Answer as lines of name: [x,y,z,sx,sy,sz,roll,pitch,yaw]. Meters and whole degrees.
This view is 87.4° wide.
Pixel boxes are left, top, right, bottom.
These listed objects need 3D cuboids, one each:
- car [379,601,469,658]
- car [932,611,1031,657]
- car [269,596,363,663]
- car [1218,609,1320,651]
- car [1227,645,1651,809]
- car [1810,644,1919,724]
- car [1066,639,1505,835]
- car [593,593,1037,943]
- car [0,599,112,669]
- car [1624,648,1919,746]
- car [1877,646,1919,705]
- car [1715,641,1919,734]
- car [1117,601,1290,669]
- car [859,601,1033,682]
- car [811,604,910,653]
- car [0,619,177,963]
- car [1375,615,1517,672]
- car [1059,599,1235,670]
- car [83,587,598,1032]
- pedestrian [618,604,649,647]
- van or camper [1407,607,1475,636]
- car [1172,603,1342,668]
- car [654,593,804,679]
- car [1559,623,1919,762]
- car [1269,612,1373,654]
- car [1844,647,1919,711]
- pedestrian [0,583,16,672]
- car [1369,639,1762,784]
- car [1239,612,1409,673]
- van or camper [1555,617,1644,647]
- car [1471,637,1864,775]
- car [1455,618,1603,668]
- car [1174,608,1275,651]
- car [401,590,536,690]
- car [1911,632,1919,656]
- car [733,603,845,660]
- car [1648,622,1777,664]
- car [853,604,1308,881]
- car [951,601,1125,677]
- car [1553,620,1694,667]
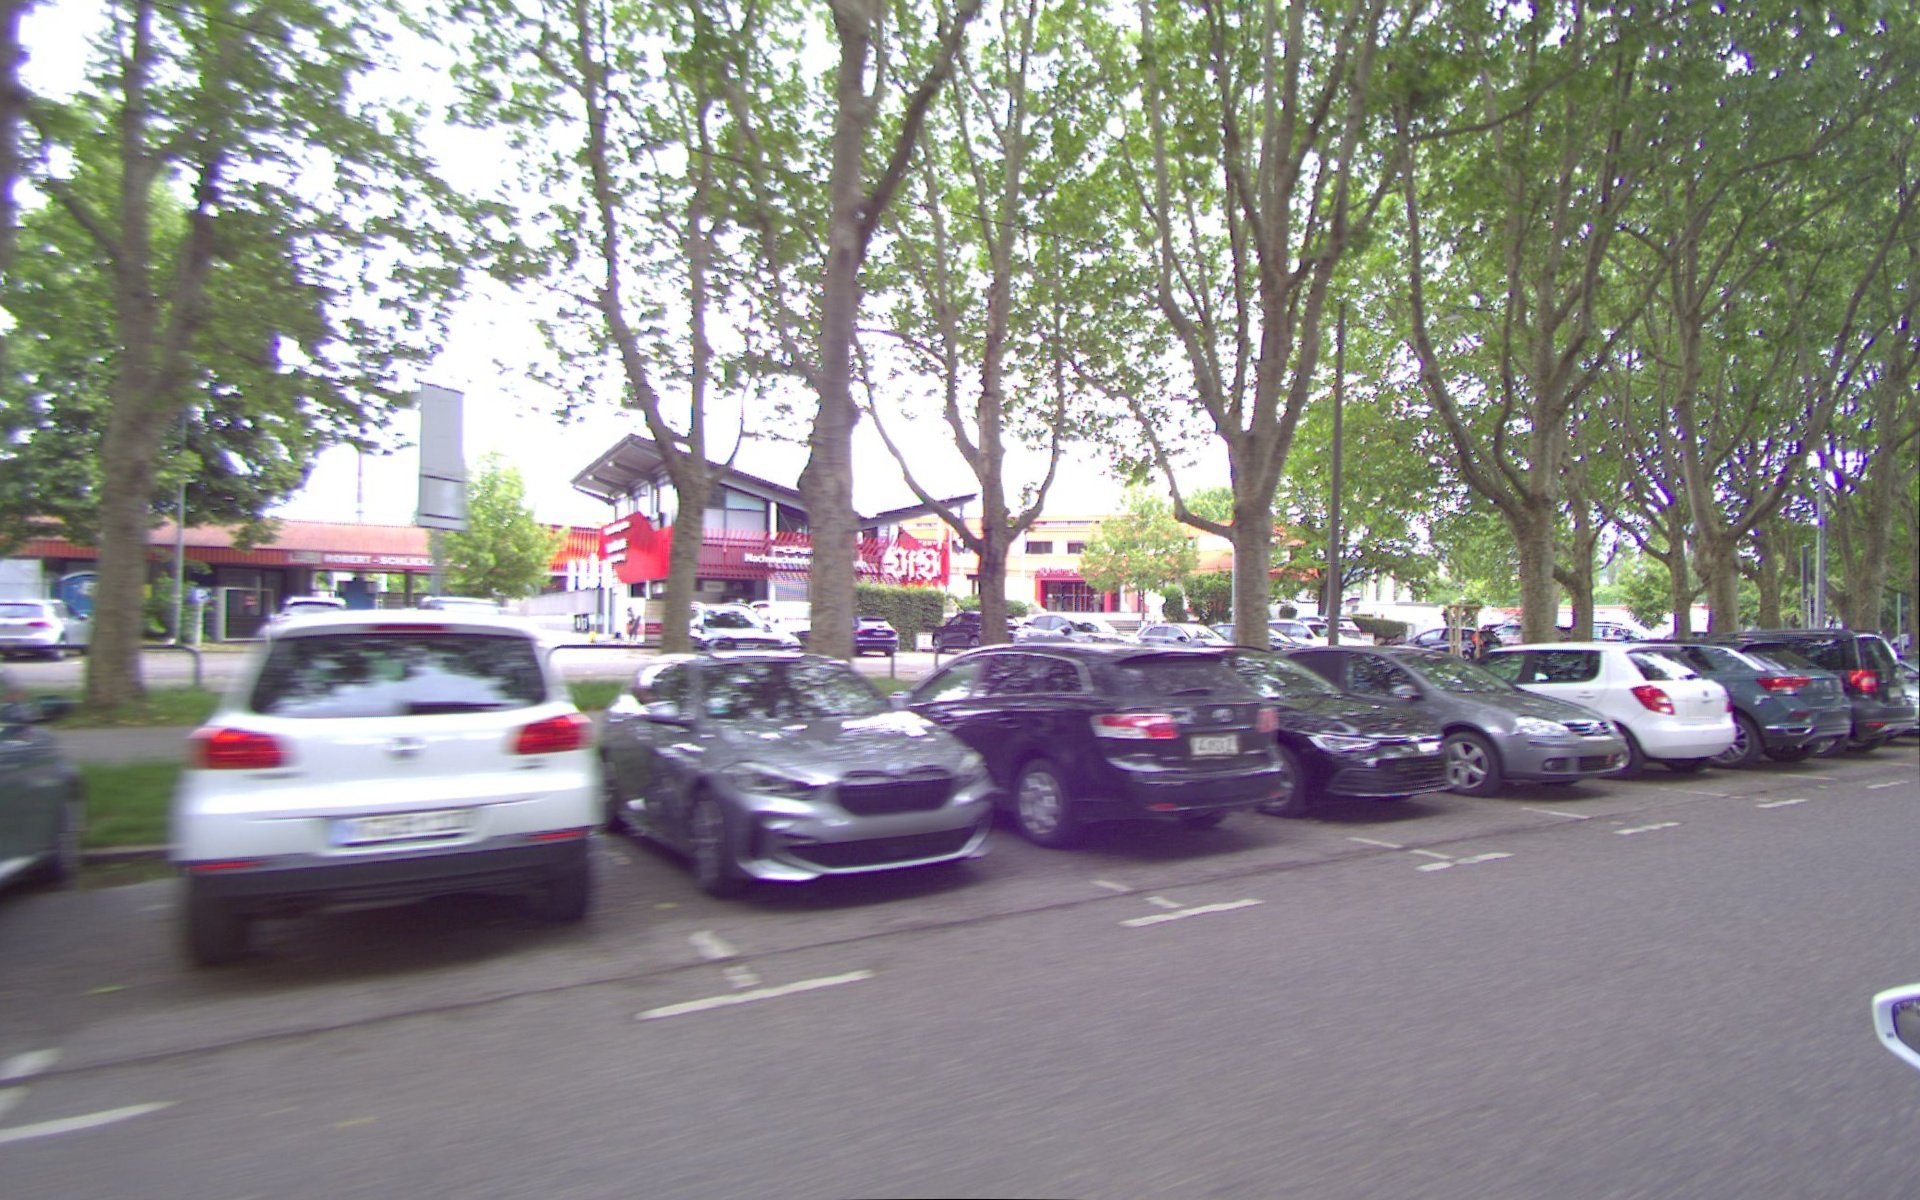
car: [-15.979,0.844,29.846,1.979,1.571,3.995,2,-1,-34]
car: [0.786,1.300,39.103,1.979,1.646,3.963,2,-1,-33]
car: [-17.385,0.761,27.118,1.979,1.648,3.963,2,-1,-34]
car: [15.008,1.445,49.037,2.265,1.880,4.566,2,-1,-24]
car: [5.022,1.226,11.098,1.683,1.439,3.974,1,-3,-31]
car: [18.202,1.519,18.218,1.683,1.416,3.912,1,-3,-31]
car: [2.985,1.168,10.043,1.823,1.387,3.967,2,-1,-31]
car: [-1.312,0.846,7.099,1.833,1.704,3.970,2,-1,-28]
car: [-23.047,0.788,24.956,2.158,1.541,4.917,2,-1,-30]
car: [13.531,1.492,16.570,1.806,1.382,3.912,1,-3,-31]
car: [24.020,1.736,22.762,1.857,1.387,4.443,1,-3,-30]
car: [15.961,1.463,17.294,1.683,1.501,4.442,1,-3,-31]
car: [7.132,0.981,29.931,2.159,1.820,4.915,2,-1,-32]
car: [-0.484,0.963,25.368,2.159,1.820,4.915,2,-1,-32]
car: [-3.670,1.010,36.608,1.979,1.646,3.963,2,-1,-33]
car: [-5.793,0.873,5.371,1.833,1.472,3.970,2,-1,-28]
car: [17.661,1.536,36.717,2.005,1.885,4.300,2,-1,-30]
car: [5.175,0.908,28.504,2.159,1.820,4.915,2,-1,-32]
car: [-3.469,0.830,6.050,1.833,1.704,3.970,2,-1,-28]
pedestrian: [-12.949,1.018,39.875,0.976,1.679,0.835,2,-1,-30]
van or camper: [36.017,1.623,75.170,5.242,2.040,1.983,2,-1,-31]
car: [9.162,1.058,31.435,2.159,1.820,4.915,2,-1,-32]
car: [-5.309,0.842,22.658,1.978,1.743,4.529,1,-3,-31]
car: [11.216,1.243,14.645,1.732,1.730,3.912,1,-3,-31]
car: [17.652,1.598,49.352,2.265,1.880,4.566,2,-1,-24]
car: [22.201,1.710,21.573,1.877,1.365,4.447,1,-3,-28]
pedestrian: [-20.404,0.556,20.867,0.907,1.824,0.937,2,-1,-29]
car: [7.339,1.253,12.655,1.680,1.505,3.983,1,-3,-25]
car: [11.676,1.300,32.574,2.159,1.820,4.915,1,-1,-32]
van or camper: [40.500,2.015,63.712,2.107,1.732,4.300,2,-1,-30]
car: [9.150,1.277,13.345,1.708,1.536,3.912,1,-3,-31]
car: [22.168,1.651,39.309,2.270,1.748,4.530,2,-1,-30]
car: [12.556,1.362,47.954,2.265,1.880,4.566,2,-1,-24]
car: [-9.879,0.815,20.003,1.978,1.743,4.529,1,-3,-31]
car: [63.227,2.854,63.624,1.978,1.543,3.969,2,-1,-29]
car: [-6.093,1.075,35.305,2.159,1.820,4.915,2,-1,-32]
car: [34.613,1.955,46.320,2.107,1.732,4.300,2,-1,-30]
car: [0.721,0.920,8.451,1.833,1.704,3.970,2,-1,-28]
car: [1.936,0.968,26.645,2.159,1.820,4.915,1,-1,-32]
car: [28.128,1.812,42.723,2.270,1.785,4.496,2,-1,-30]
